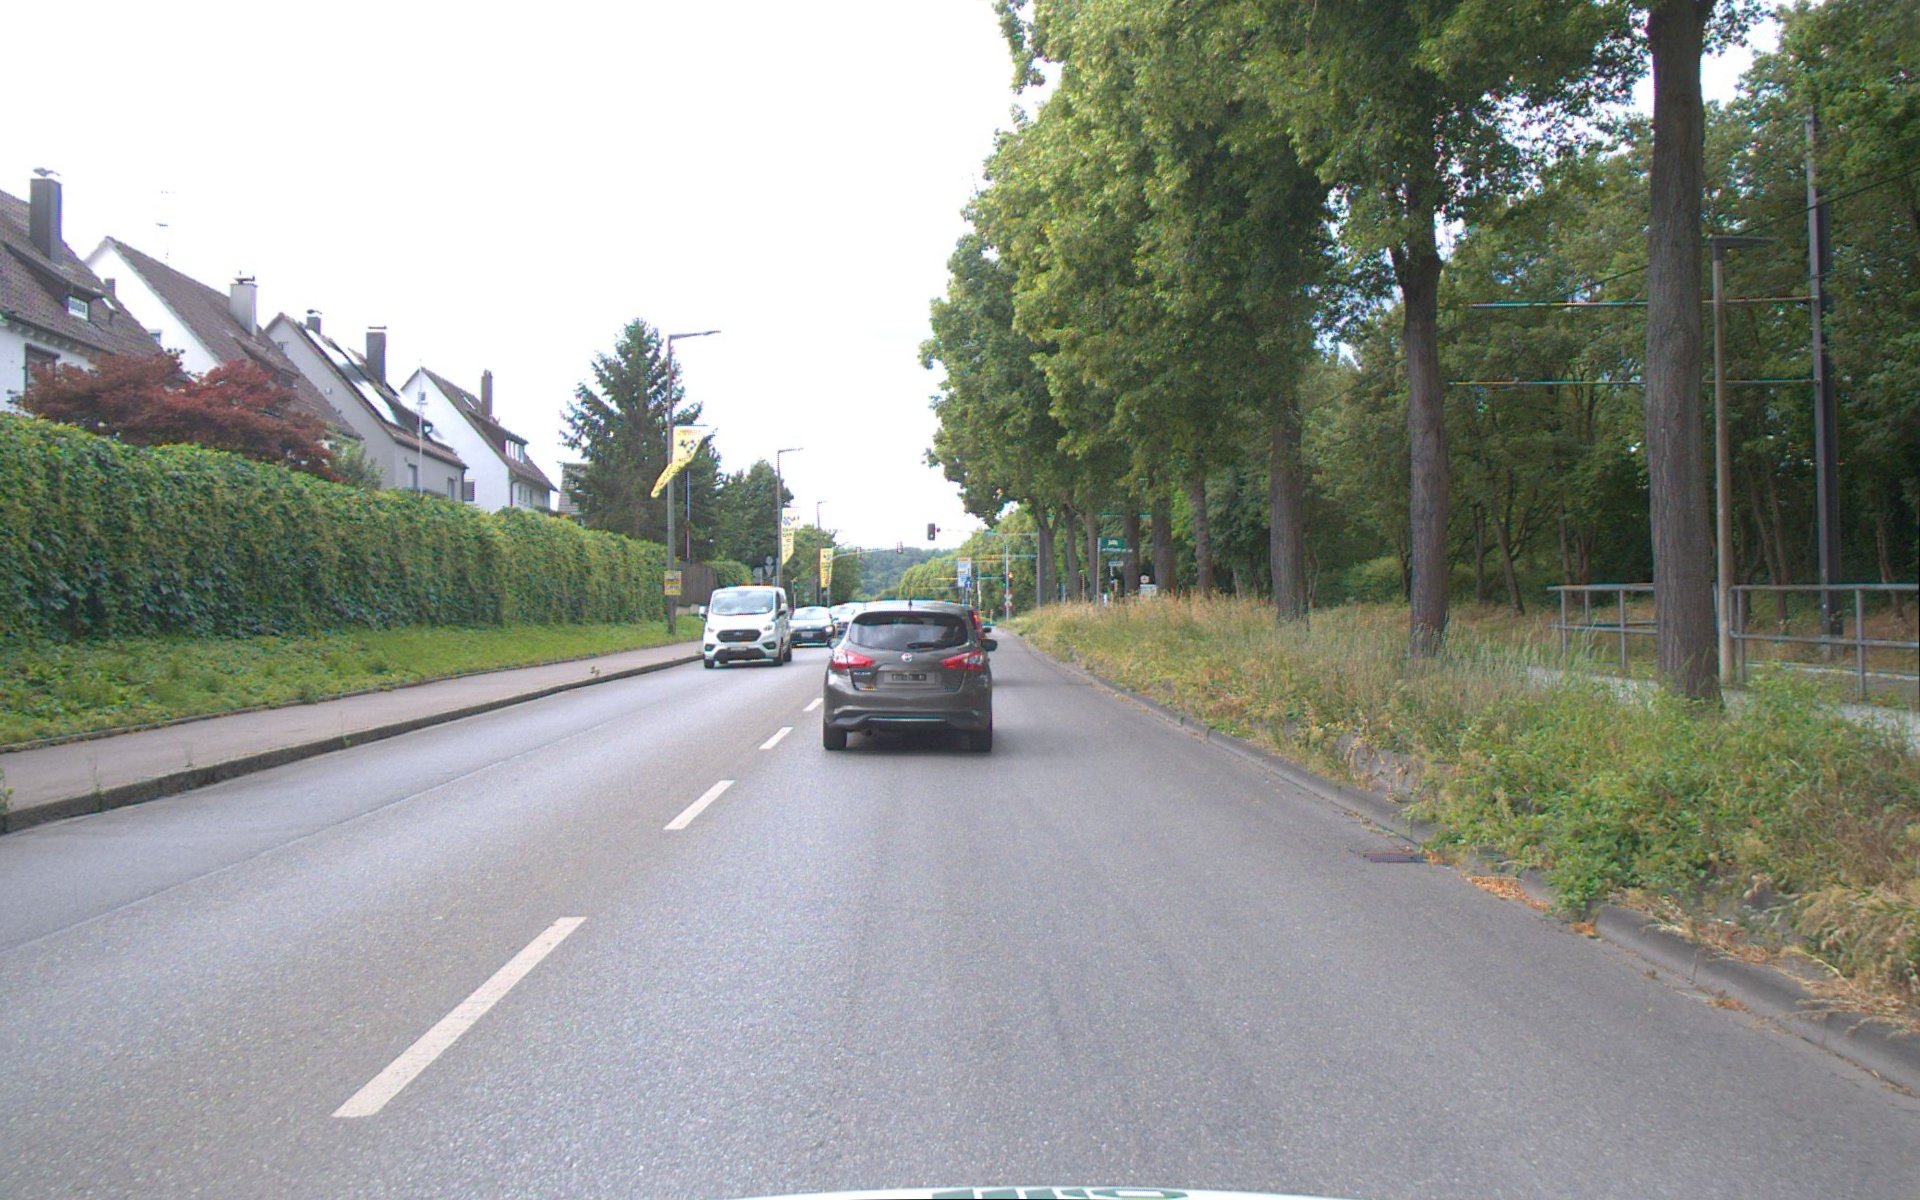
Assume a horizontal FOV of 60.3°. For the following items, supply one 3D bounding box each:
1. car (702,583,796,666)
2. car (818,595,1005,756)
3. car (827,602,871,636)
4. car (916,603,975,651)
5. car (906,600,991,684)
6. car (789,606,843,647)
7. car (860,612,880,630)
[{"bbox_3d":[-5.362,0.632,42.626,1.868,1.966,4.909,-1,-1,-2],"label":"car"},{"bbox_3d":[-0.503,0.741,18.402,1.798,1.545,4.482,1,0,-1],"label":"car"},{"bbox_3d":[-4.976,0.824,74.527,1.848,1.407,4.488,-2,0,-3],"label":"car"},{"bbox_3d":[-0.473,0.818,51.446,1.755,1.421,3.999,-1,0,-1],"label":"car"},{"bbox_3d":[-0.232,0.761,31.521,1.507,1.504,3.763,0,0,-1],"label":"car"},{"bbox_3d":[-5.144,0.912,59.493,1.617,1.371,4.476,-2,0,-1],"label":"car"},{"bbox_3d":[-8.303,1.952,153.547,1.776,1.550,4.175,-2,0,-3],"label":"car"}]
